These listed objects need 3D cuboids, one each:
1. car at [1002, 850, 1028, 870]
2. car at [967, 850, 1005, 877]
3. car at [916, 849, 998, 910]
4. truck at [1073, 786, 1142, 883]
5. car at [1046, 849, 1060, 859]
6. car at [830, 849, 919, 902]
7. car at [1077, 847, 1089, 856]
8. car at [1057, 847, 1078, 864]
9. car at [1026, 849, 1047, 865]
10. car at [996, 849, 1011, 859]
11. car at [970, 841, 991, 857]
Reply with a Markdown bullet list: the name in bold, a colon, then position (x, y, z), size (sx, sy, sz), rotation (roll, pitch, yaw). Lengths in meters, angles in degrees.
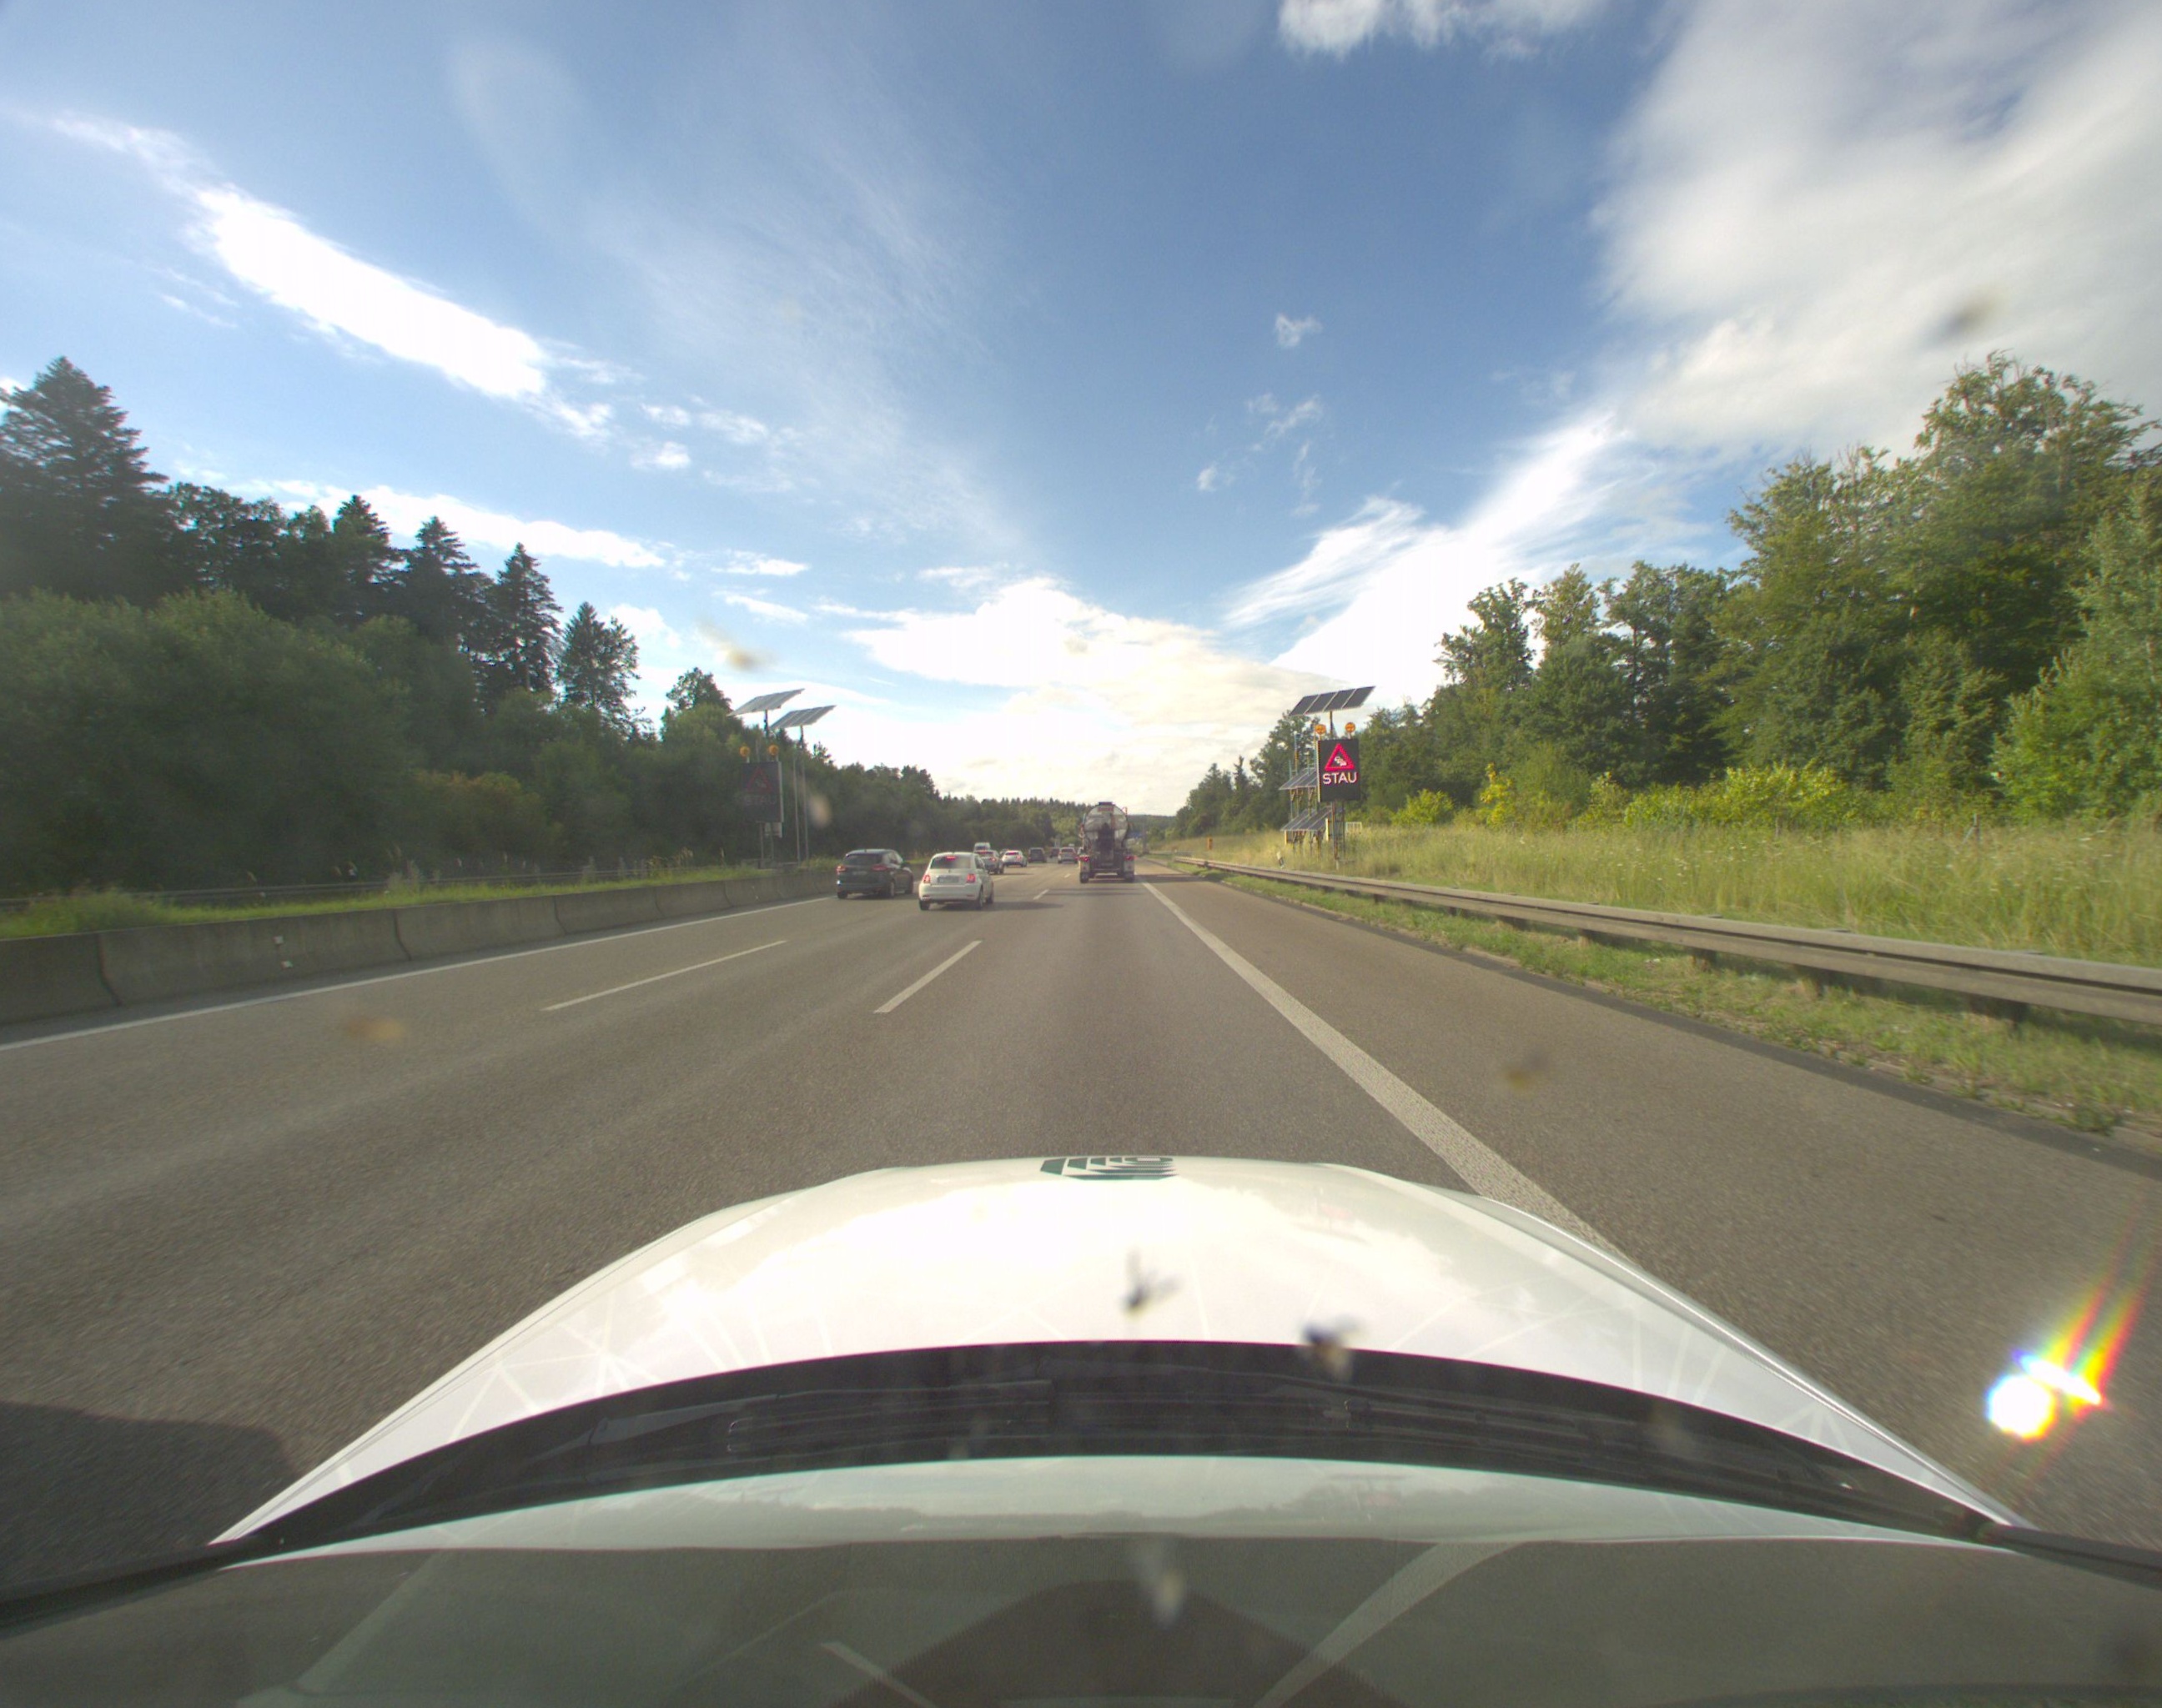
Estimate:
- **car**: position (-5.658, 0.511, 70.085), size (1.800, 1.585, 4.209), rotation (0, 1, 1)
- **car**: position (-5.931, 0.574, 51.208), size (1.800, 1.585, 4.209), rotation (0, 1, 1)
- **car**: position (-3.337, 0.644, 22.450), size (1.612, 1.544, 3.521), rotation (0, 0, 1)
- **truck**: position (1.358, -0.889, 40.855), size (2.901, 4.157, 11.276), rotation (-1, 0, 2)
- **car**: position (-4.442, -0.078, 127.838), size (1.935, 1.456, 4.209), rotation (0, 1, 1)
- **car**: position (-6.898, 0.657, 27.656), size (1.800, 1.585, 4.209), rotation (0, 1, 1)
- **car**: position (0.372, -0.457, 144.218), size (1.935, 1.456, 4.209), rotation (0, 1, 1)
- **car**: position (-1.348, 0.113, 83.514), size (1.935, 1.654, 4.209), rotation (0, 1, 1)
- **car**: position (-4.888, 0.312, 89.425), size (1.935, 1.585, 4.209), rotation (0, 1, 1)
- **car**: position (-17.044, 0.017, 179.536), size (2.569, 2.138, 5.969), rotation (-1, 0, 2)
- **car**: position (-15.580, -0.759, 126.556), size (2.101, 2.312, 6.727), rotation (-1, 0, 2)
